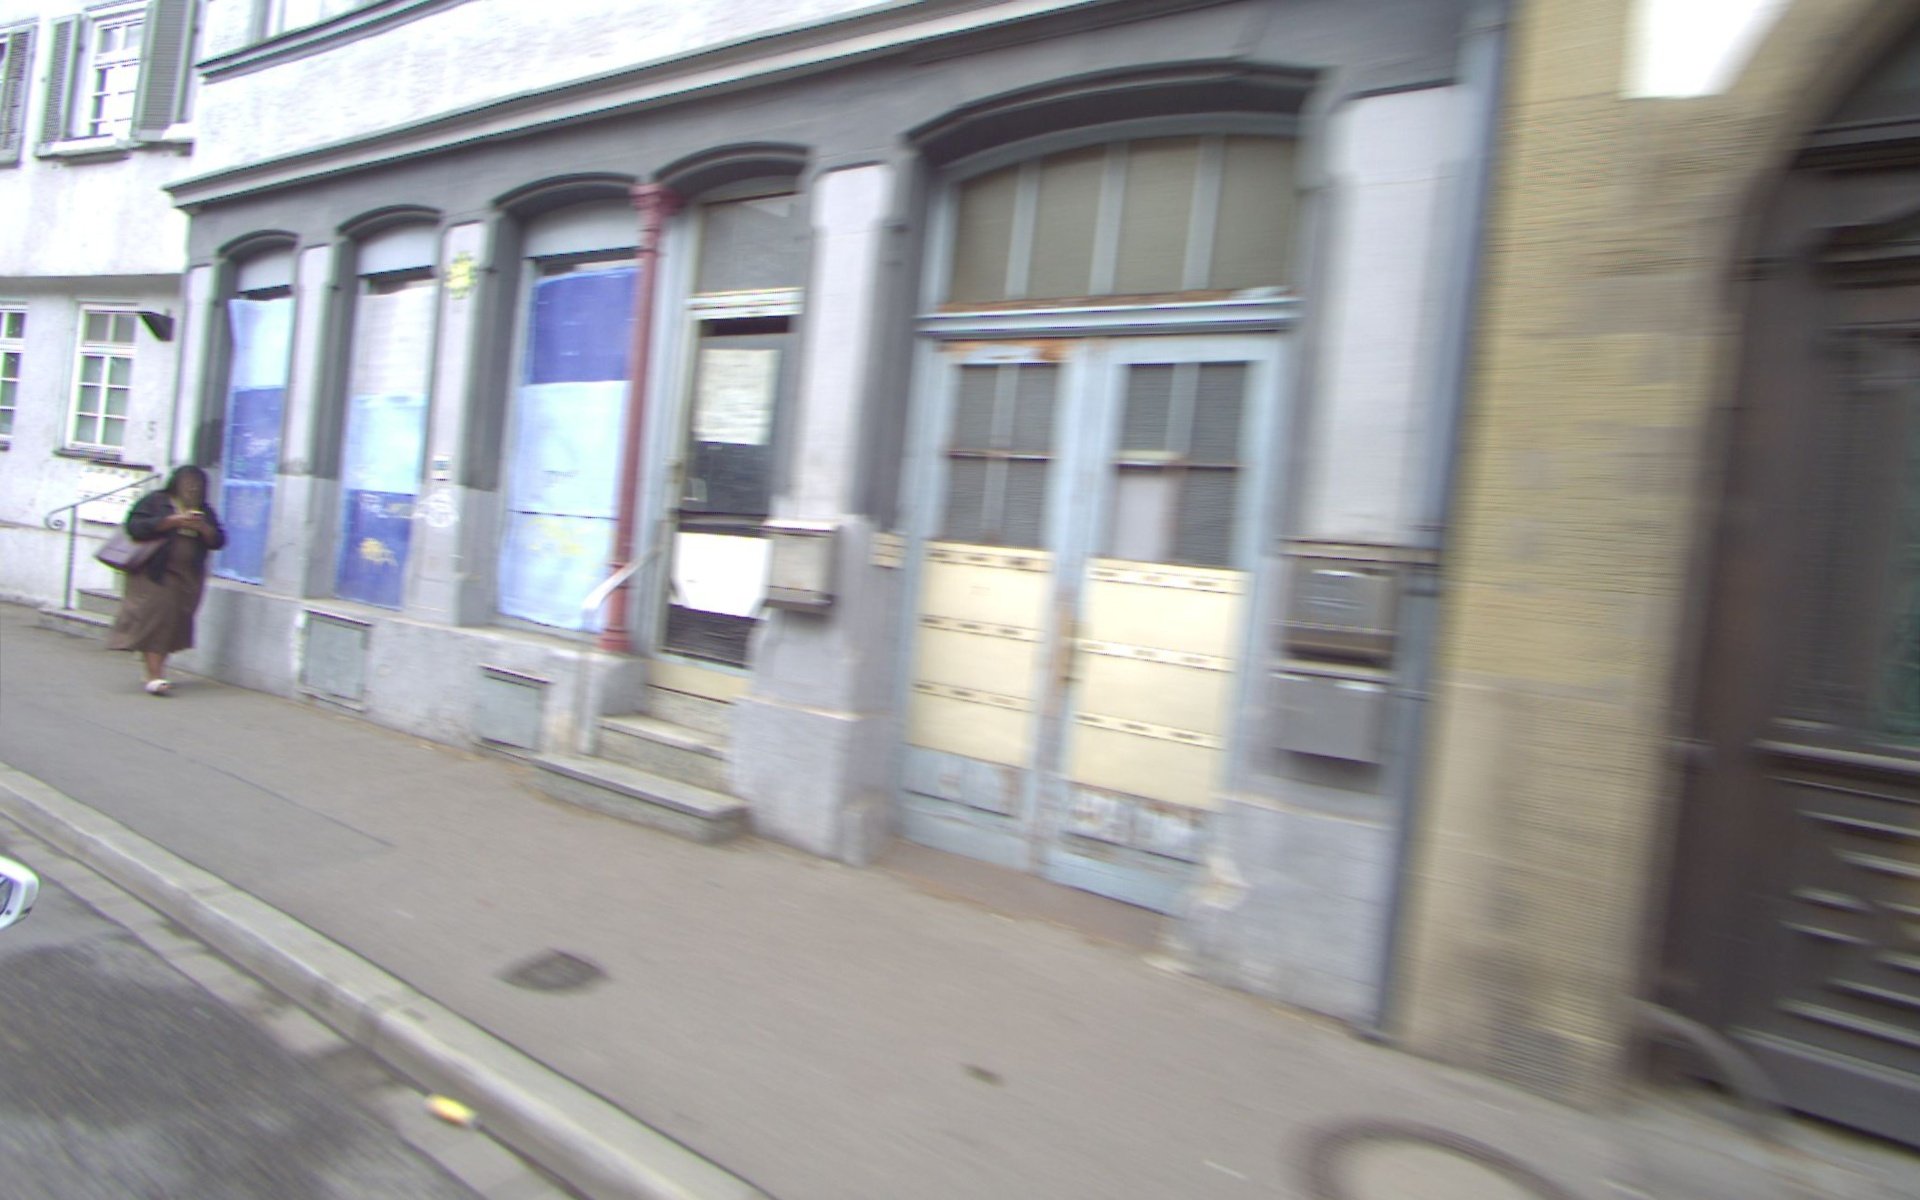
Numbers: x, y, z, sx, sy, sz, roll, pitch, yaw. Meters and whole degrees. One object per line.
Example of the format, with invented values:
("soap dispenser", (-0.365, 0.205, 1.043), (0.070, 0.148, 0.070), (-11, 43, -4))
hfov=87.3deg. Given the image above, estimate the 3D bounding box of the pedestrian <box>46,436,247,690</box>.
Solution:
("pedestrian", (-5.890, -0.261, 7.297), (0.796, 1.686, 0.756), (7, -1, 34))
